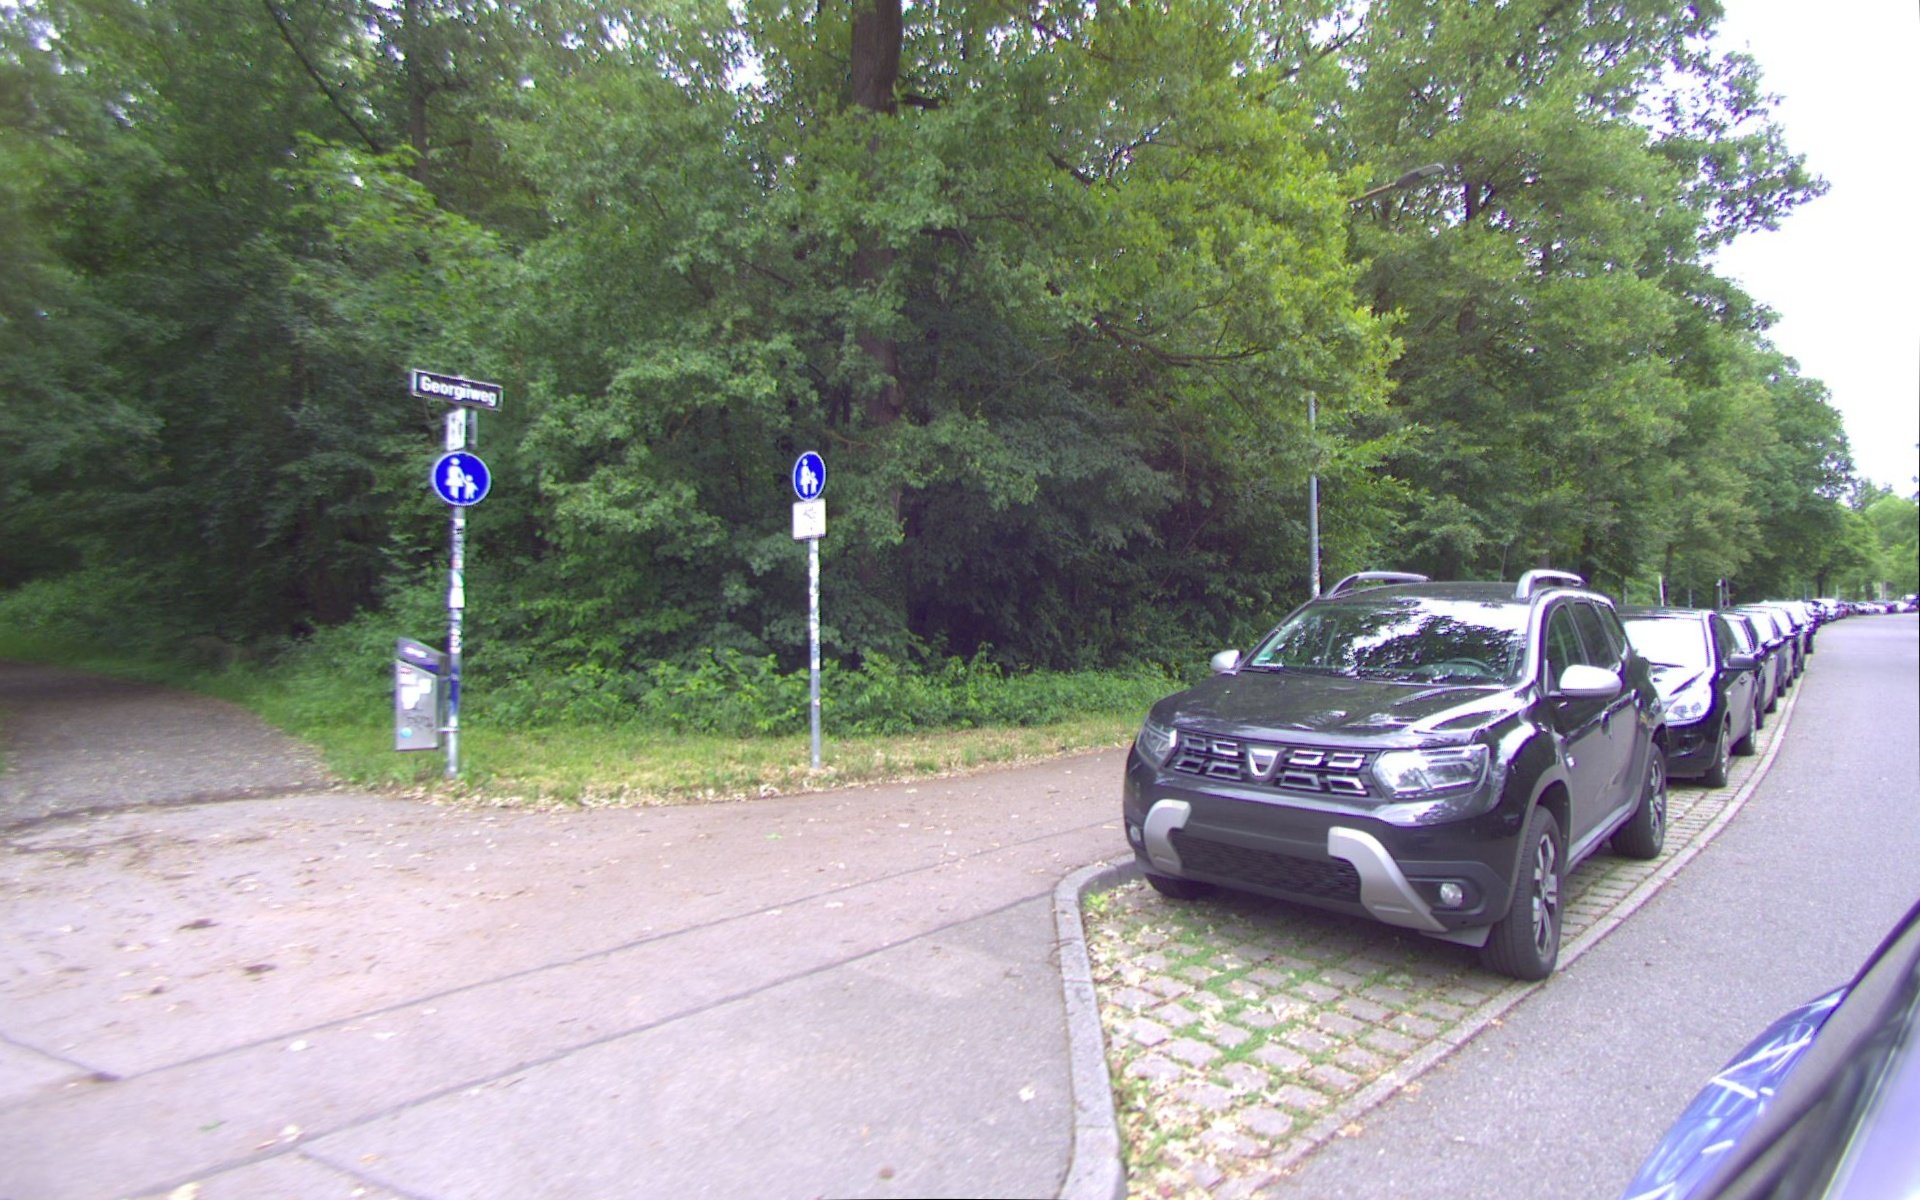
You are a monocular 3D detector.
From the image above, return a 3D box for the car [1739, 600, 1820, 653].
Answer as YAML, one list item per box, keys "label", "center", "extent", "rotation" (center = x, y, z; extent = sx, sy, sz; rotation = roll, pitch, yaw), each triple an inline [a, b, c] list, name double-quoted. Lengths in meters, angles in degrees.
- label: "car"
  center: [24.091, 0.721, 29.727]
  extent: [1.734, 1.443, 4.094]
  rotation: [-1, 0, 40]

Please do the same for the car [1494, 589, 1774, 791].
- label: "car"
  center: [6.653, 0.680, 9.779]
  extent: [1.734, 1.514, 4.170]
  rotation: [-1, 0, 41]

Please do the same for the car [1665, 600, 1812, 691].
- label: "car"
  center: [14.314, 0.739, 18.511]
  extent: [1.735, 1.450, 4.432]
  rotation: [-1, 0, 43]

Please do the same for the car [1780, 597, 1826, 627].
- label: "car"
  center: [42.958, 0.592, 51.589]
  extent: [1.734, 1.453, 4.676]
  rotation: [-1, 0, 40]

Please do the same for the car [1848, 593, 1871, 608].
- label: "car"
  center: [88.249, 0.056, 99.298]
  extent: [1.498, 1.498, 3.607]
  rotation: [-2, -1, 45]

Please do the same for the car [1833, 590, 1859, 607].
- label: "car"
  center: [80.169, -0.135, 91.556]
  extent: [1.498, 1.498, 3.607]
  rotation: [-2, -1, 45]

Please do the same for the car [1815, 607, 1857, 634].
- label: "car"
  center: [54.497, 1.243, 63.011]
  extent: [1.899, 1.607, 4.416]
  rotation: [-1, 0, 40]

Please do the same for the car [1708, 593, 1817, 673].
- label: "car"
  center: [18.051, 0.676, 22.693]
  extent: [1.734, 1.609, 4.317]
  rotation: [-1, 0, 41]

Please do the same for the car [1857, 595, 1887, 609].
- label: "car"
  center: [94.037, 0.216, 104.376]
  extent: [3.596, 1.498, 1.503]
  rotation: [0, -1, -35]

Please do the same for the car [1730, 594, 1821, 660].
- label: "car"
  center: [21.455, 0.659, 26.592]
  extent: [1.734, 1.588, 3.950]
  rotation: [-1, 0, 40]

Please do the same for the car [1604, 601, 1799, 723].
- label: "car"
  center: [10.526, 0.739, 14.237]
  extent: [1.735, 1.450, 4.432]
  rotation: [-1, 0, 43]

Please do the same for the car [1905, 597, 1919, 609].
- label: "car"
  center: [114.247, 0.383, 120.461]
  extent: [3.815, 1.332, 1.774]
  rotation: [-1, 0, -34]

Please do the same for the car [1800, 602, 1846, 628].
- label: "car"
  center: [60.754, 1.049, 71.194]
  extent: [4.408, 1.745, 1.907]
  rotation: [0, -1, -42]

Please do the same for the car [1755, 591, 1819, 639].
- label: "car"
  center: [30.814, 0.532, 37.693]
  extent: [1.734, 1.664, 4.998]
  rotation: [-1, 0, 40]

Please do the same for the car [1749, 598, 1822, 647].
- label: "car"
  center: [26.978, 0.699, 33.052]
  extent: [1.734, 1.493, 4.538]
  rotation: [-1, 0, 40]

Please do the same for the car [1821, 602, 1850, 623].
- label: "car"
  center: [68.633, 0.951, 79.333]
  extent: [1.576, 1.640, 3.900]
  rotation: [-1, -1, 43]

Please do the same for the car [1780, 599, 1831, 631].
- label: "car"
  center: [39.180, 0.670, 46.911]
  extent: [1.734, 1.425, 4.363]
  rotation: [-1, 0, 40]

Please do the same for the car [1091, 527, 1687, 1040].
- label: "car"
  center: [2.631, 0.595, 5.489]
  extent: [1.734, 1.654, 4.310]
  rotation: [-1, 0, 41]

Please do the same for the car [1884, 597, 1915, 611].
- label: "car"
  center: [107.279, 0.455, 115.539]
  extent: [3.814, 1.333, 1.774]
  rotation: [3, -2, -34]
